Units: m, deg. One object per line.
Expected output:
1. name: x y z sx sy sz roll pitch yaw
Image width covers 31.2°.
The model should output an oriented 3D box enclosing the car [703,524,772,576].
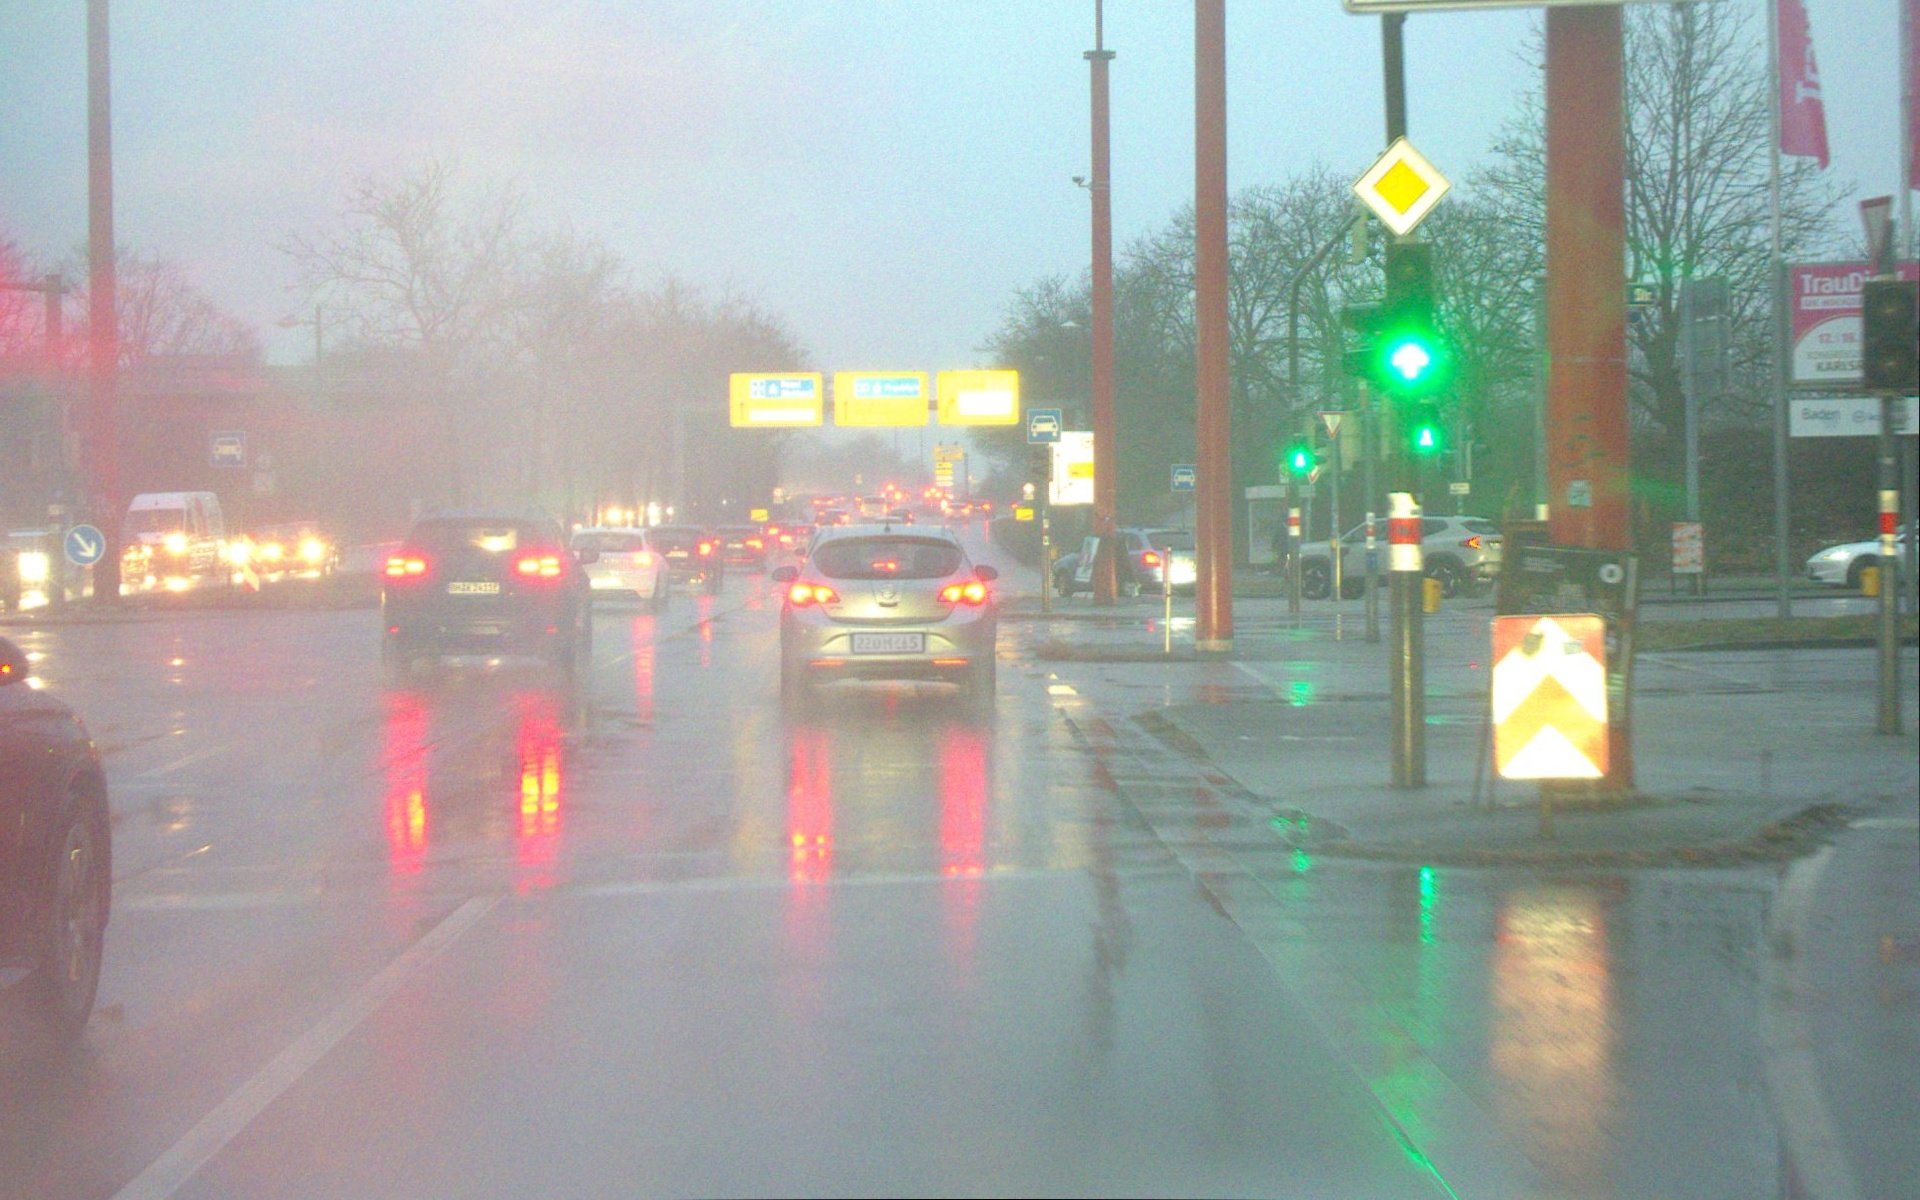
1. car: -6.648 -1.506 103.051 1.822 1.499 4.000 0 1 0

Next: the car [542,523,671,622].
1. car: -6.057 -0.494 59.271 1.822 1.642 4.000 0 1 0

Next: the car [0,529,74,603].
1. car: -20.467 -0.752 73.905 1.770 1.528 4.526 0 2 -2

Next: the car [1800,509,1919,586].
1. car: 17.960 -0.974 62.871 4.739 1.371 1.883 0 1 1

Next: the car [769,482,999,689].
1. car: -0.621 -0.164 29.814 1.822 1.642 4.467 -1 1 0

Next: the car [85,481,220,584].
1. car: -24.552 -2.012 104.829 2.292 2.994 7.347 1 1 0

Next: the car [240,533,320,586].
1. car: -21.047 -1.279 106.568 1.770 1.581 4.034 0 1 -2

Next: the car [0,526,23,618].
1. car: -17.536 -0.466 59.149 1.856 1.576 4.080 0 1 -2

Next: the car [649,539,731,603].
1. car: -5.874 -0.655 75.078 1.505 1.334 4.000 0 1 0

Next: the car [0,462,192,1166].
1. car: -3.152 0.507 7.825 1.822 1.642 4.467 0 1 0

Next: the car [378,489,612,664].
1. car: -4.588 -0.256 34.420 1.822 1.642 4.000 0 1 0

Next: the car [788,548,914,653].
1. car: -1.785 -0.010 57.594 1.993 1.656 4.000 1 1 -1

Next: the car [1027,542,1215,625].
1. car: 3.346 -0.358 72.219 1.933 1.642 4.467 1 1 -27
